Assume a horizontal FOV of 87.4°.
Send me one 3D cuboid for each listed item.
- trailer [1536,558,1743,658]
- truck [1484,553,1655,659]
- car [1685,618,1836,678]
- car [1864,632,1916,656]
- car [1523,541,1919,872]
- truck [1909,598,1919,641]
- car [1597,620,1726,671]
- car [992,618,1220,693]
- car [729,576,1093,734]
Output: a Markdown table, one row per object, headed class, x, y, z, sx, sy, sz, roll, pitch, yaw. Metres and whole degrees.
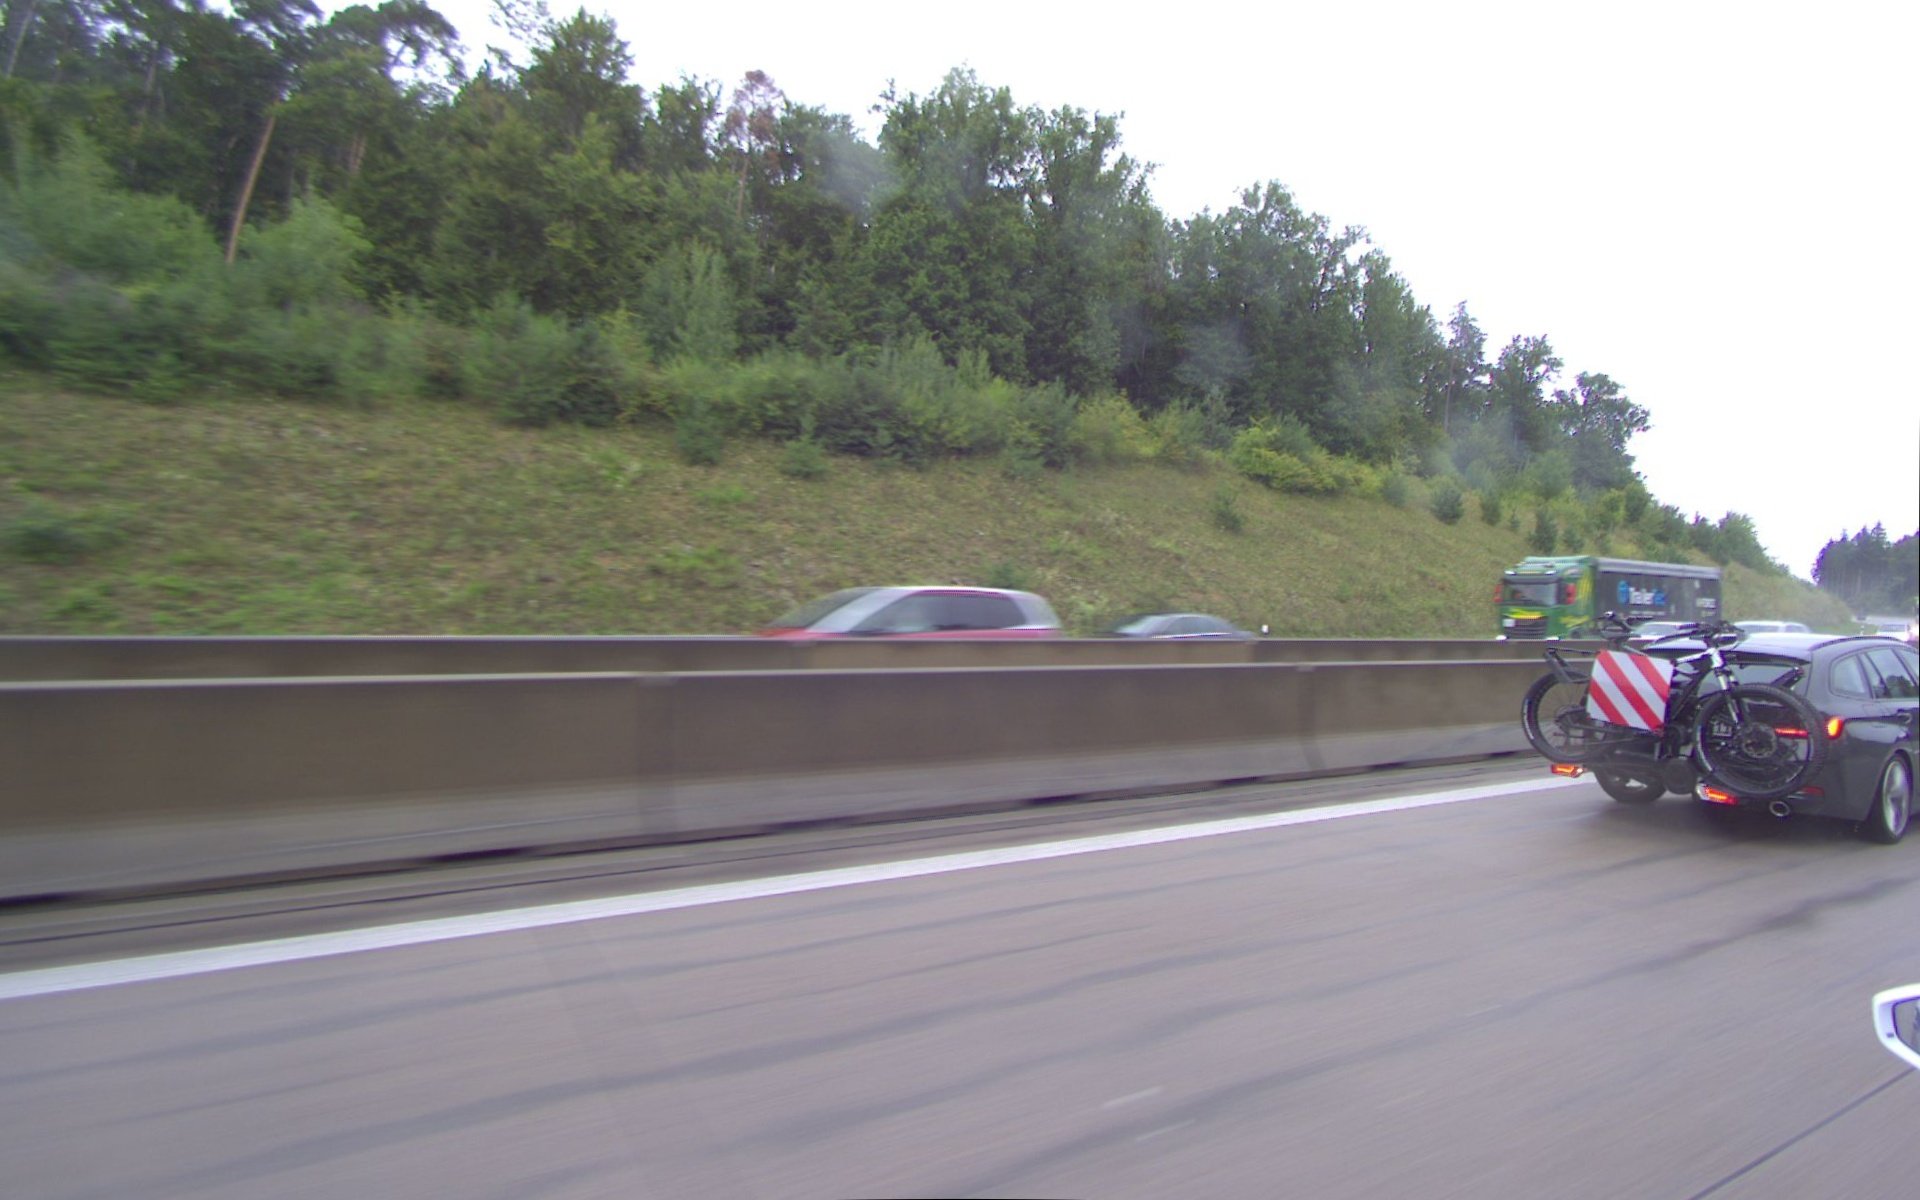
| class | x | y | z | sx | sy | sz | roll | pitch | yaw |
| --- | --- | --- | --- | --- | --- | --- | --- | --- | --- |
| trailer | 30.805 | 0.457 | 45.163 | 13.323 | 4.013 | 2.909 | 1 | 0 | -34 |
| truck | 25.229 | 0.324 | 41.412 | 8.033 | 4.013 | 2.909 | 1 | 0 | -34 |
| car | 23.282 | 1.363 | 29.182 | 4.719 | 1.606 | 1.983 | 1 | -1 | -32 |
| car | 61.726 | 2.903 | 66.669 | 3.959 | 1.513 | 1.720 | 1 | -1 | -34 |
| car | 7.303 | 0.699 | 8.458 | 6.097 | 1.971 | 1.896 | 2 | -1 | -34 |
| truck | 91.481 | 1.858 | 93.966 | 7.300 | 3.941 | 2.884 | 1 | 0 | -38 |
| car | 24.264 | 1.557 | 34.692 | 4.719 | 1.606 | 1.983 | 1 | -1 | -32 |
| car | 2.953 | 1.061 | 20.050 | 4.250 | 1.310 | 1.983 | 1 | -1 | -32 |
| car | -0.589 | 0.676 | 13.467 | 4.487 | 1.791 | 1.983 | 1 | -1 | -32 |
